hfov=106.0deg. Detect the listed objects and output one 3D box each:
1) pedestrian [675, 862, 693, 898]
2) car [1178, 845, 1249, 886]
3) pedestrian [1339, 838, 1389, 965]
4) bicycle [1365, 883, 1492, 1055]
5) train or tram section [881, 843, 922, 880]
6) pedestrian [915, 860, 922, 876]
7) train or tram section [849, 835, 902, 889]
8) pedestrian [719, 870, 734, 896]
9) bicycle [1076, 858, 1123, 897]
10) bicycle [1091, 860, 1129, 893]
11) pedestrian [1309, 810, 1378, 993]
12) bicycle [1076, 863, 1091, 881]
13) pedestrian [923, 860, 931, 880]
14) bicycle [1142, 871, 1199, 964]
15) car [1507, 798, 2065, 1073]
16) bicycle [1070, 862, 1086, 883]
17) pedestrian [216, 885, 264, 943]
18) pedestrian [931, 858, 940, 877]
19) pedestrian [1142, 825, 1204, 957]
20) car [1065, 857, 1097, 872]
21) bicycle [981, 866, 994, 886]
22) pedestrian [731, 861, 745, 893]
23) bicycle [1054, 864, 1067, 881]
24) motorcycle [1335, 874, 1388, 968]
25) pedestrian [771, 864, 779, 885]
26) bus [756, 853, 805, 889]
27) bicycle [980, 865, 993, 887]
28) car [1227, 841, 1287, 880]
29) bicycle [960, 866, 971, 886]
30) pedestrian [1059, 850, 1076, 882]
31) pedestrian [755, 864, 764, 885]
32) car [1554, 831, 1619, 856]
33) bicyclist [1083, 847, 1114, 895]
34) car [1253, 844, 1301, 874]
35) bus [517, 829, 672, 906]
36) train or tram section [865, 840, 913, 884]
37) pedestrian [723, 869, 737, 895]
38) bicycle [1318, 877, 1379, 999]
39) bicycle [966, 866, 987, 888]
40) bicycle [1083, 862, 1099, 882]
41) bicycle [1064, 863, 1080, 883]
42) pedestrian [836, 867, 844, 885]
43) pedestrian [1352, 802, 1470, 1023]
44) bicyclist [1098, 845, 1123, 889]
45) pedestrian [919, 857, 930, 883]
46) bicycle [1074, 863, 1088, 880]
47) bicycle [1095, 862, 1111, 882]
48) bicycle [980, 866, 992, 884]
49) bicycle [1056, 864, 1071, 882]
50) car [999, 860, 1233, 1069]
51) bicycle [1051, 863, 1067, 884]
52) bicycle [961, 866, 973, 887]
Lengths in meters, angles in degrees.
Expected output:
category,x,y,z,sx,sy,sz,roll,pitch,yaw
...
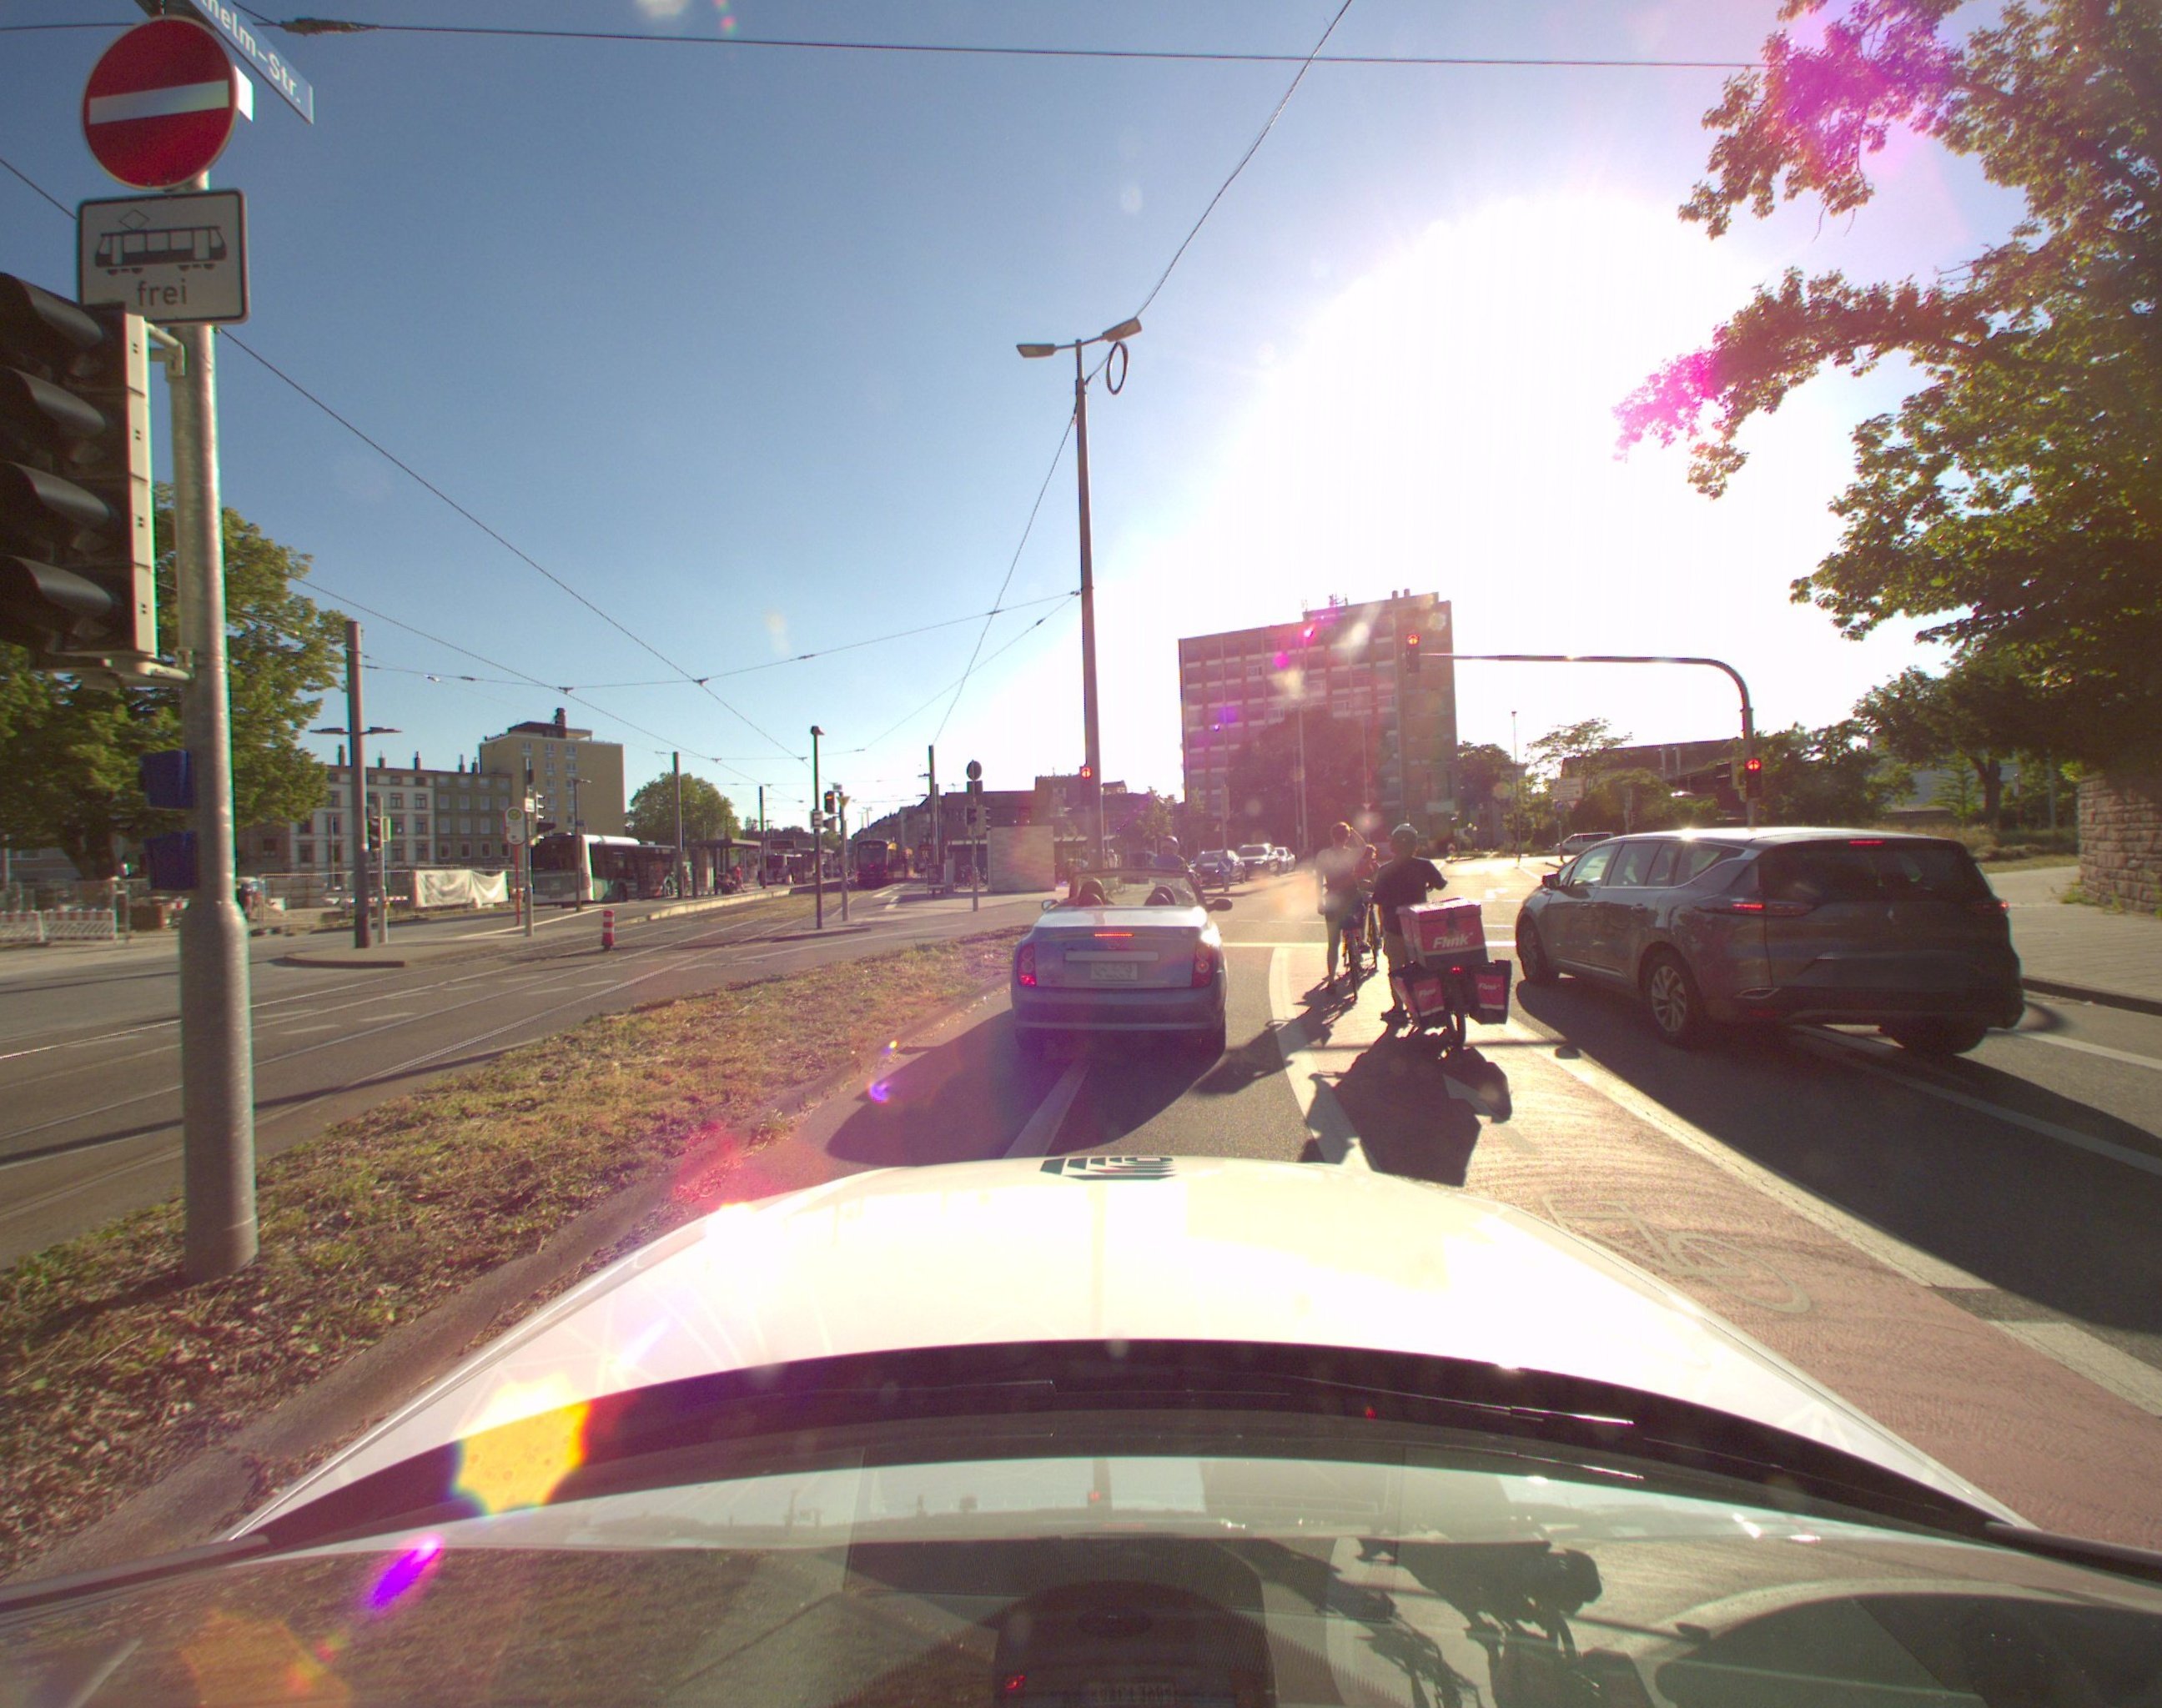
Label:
category,x,y,z,sx,sy,sz,roll,pitch,yaw
pedestrian,-19.712,1.274,40.433,0.536,1.749,0.559,-2,-1,-4
car,5.547,0.469,33.642,1.720,1.574,3.948,-1,-1,28
pedestrian,3.771,0.606,10.845,0.583,1.598,1.030,-1,-1,19
bicycle,2.935,0.873,7.094,0.550,1.171,2.380,-1,-1,12
train or tram section,-18.601,0.814,85.228,3.037,3.597,12.021,0,0,-7
pedestrian,-18.072,1.532,90.535,0.604,1.749,0.830,-2,-1,-6
train or tram section,-15.261,0.583,61.215,2.881,3.597,12.158,0,-1,-10
pedestrian,-18.603,1.521,42.775,0.617,1.340,0.438,-2,-1,-15
bicycle,0.675,0.811,28.969,0.668,1.250,2.471,-5,-1,24
bicycle,1.154,0.847,31.572,0.668,1.180,2.195,-3,0,24
pedestrian,2.836,0.490,8.838,0.654,1.869,0.876,-1,-1,17
bicycle,0.131,1.138,51.413,0.607,1.115,1.890,0,-1,-10
pedestrian,-14.279,1.477,75.602,0.639,1.749,0.732,-2,-1,-17
bicycle,1.358,0.866,11.987,0.604,1.191,2.422,-1,-1,12
car,5.541,0.523,7.320,1.820,1.689,4.381,-1,-1,10
bicycle,-0.179,1.016,45.411,0.607,1.115,1.890,0,-1,-10
pedestrian,-25.651,1.828,24.856,0.712,1.697,0.893,-3,-2,-25
pedestrian,-13.618,1.244,76.281,0.639,1.749,0.732,-2,-1,-17
pedestrian,1.369,0.527,12.057,0.828,1.869,0.923,-1,-1,10
car,-0.030,1.178,88.863,1.653,1.560,3.559,-2,0,-37
bicycle,-5.374,1.225,46.734,0.607,1.115,1.890,0,-1,-10
pedestrian,-19.111,1.276,45.338,0.571,1.749,0.636,-2,-1,-15
bicycle,-1.347,1.195,53.214,0.607,1.115,1.890,0,-1,-10
motorcycle,3.827,0.844,11.104,0.608,1.097,2.371,-1,-1,19
pedestrian,-25.274,1.684,67.246,0.571,1.749,0.636,-2,-1,-17
bus,-29.669,1.588,80.947,2.723,3.274,13.409,0,-1,-12
bicycle,-5.177,1.194,44.665,0.607,1.115,1.890,0,-1,-10
car,8.639,0.267,39.631,1.745,1.706,4.557,-4,-1,26
bicycle,-6.560,1.251,46.293,0.606,1.115,1.891,0,-1,-8
pedestrian,-0.778,0.685,46.904,0.901,1.869,0.684,0,-1,-11
pedestrian,-26.250,1.672,66.495,0.641,1.749,0.567,-2,-1,-25
car,43.515,-0.897,70.182,4.645,1.945,1.927,-3,-1,33
bicyclist,0.628,0.596,28.903,0.702,1.657,0.906,-5,-2,24
car,11.166,0.252,46.216,1.678,1.560,4.004,-3,0,28
bus,-22.370,0.574,38.221,2.652,3.135,9.617,0,-1,-8
train or tram section,-17.066,0.706,73.257,3.010,3.597,12.165,0,-1,-8
pedestrian,-18.732,1.475,43.462,0.571,1.346,0.636,-2,-1,-15
bicycle,2.934,0.857,9.021,0.559,1.151,1.958,-1,-1,17
bicycle,-5.466,1.204,42.735,0.603,1.115,1.901,-1,-1,8
bicycle,0.557,1.056,47.713,0.607,1.115,1.890,0,-1,-10
bicycle,-0.542,1.093,47.351,0.607,1.115,1.890,0,-1,-10
pedestrian,-23.760,2.140,80.364,0.641,1.749,0.567,-2,-1,-25
pedestrian,2.978,0.503,7.447,0.801,1.869,0.959,-1,-1,10
bicyclist,1.147,0.490,31.601,0.702,1.657,0.747,-3,-1,24
pedestrian,-10.954,1.106,56.837,0.639,1.749,0.569,-2,-1,-17
bicycle,-0.030,1.133,53.390,0.607,1.115,1.890,0,-1,-10
bicycle,1.239,1.007,45.679,0.606,1.115,1.892,0,-1,-7
bicycle,-5.901,1.288,50.624,0.607,1.115,1.890,0,-1,-10
bicycle,-1.104,1.164,51.240,0.607,1.115,1.890,0,-1,-10
car,0.549,0.783,7.796,1.650,1.441,4.164,-1,-1,9
bicycle,-1.253,1.082,45.294,0.607,1.115,1.890,0,-1,-10
bicycle,-6.212,1.232,44.358,0.607,1.115,1.890,0,-1,-10
